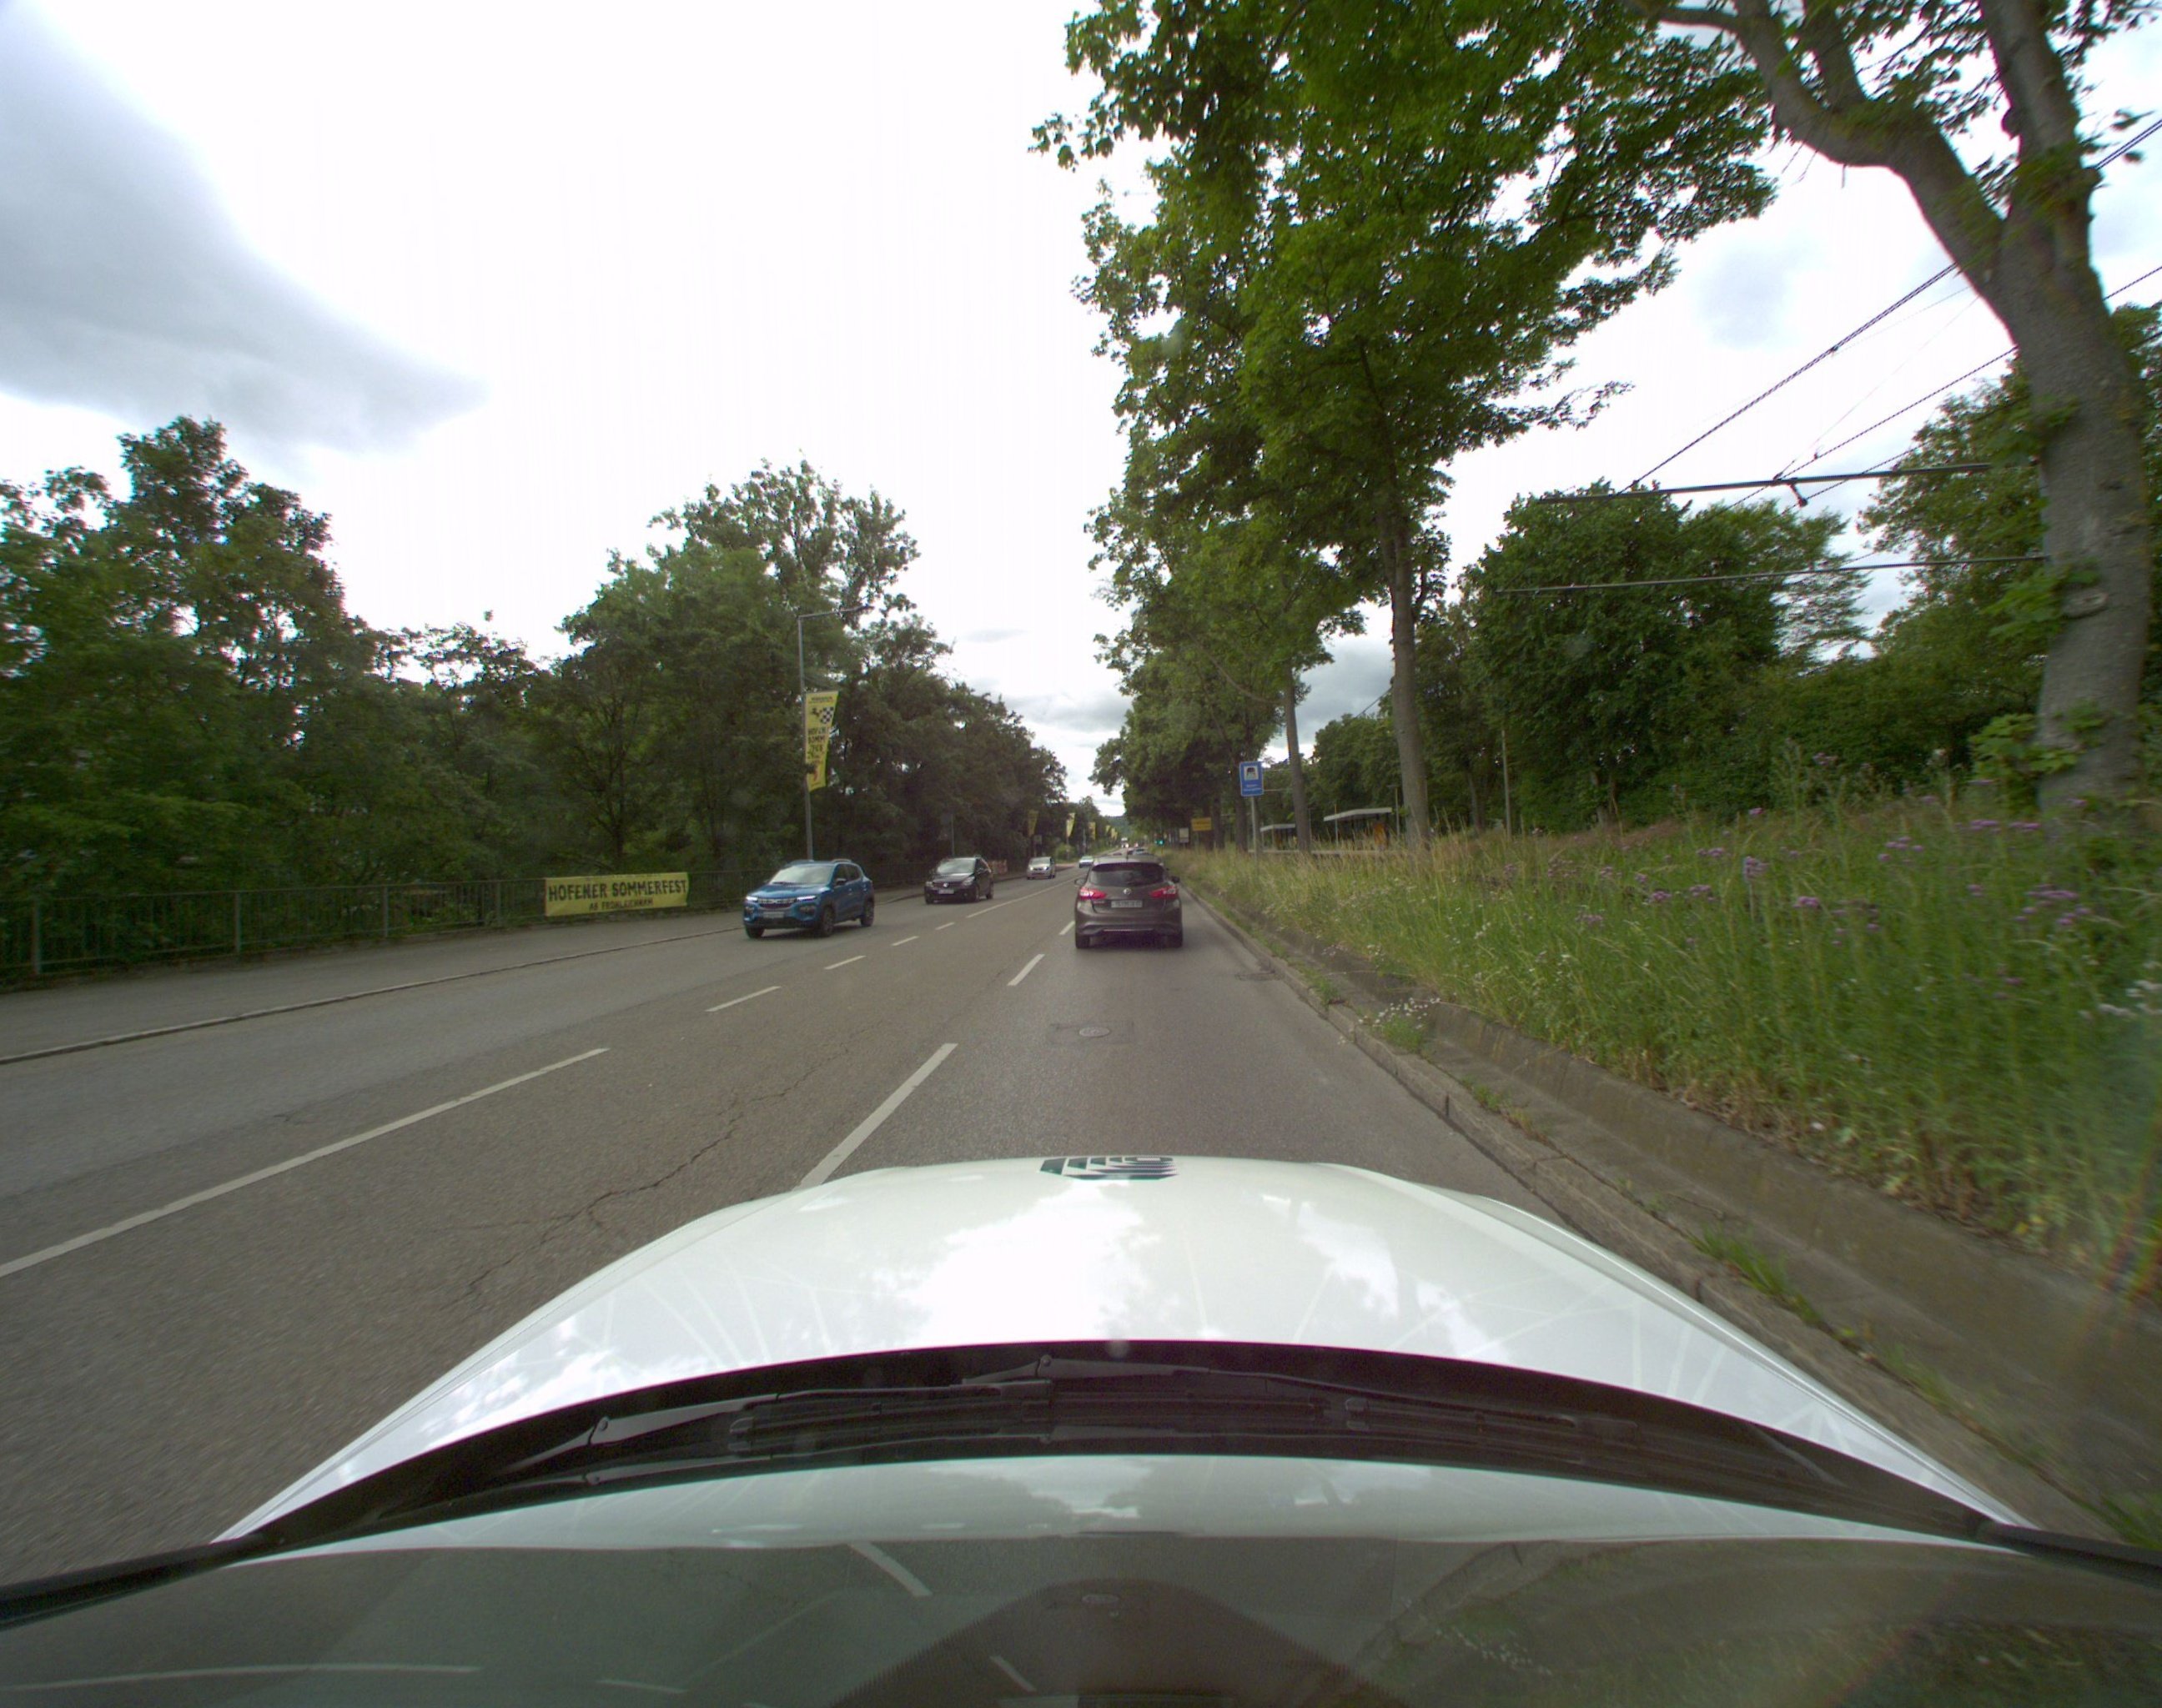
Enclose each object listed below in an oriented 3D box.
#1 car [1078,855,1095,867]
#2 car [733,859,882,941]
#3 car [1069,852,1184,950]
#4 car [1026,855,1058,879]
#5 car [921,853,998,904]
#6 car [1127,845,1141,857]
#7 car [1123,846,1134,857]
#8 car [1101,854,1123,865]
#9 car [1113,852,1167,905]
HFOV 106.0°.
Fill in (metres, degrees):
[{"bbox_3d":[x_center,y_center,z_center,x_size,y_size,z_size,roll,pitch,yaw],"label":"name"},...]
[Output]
[{"bbox_3d":[0.663,0.799,94.546,1.750,1.337,3.701,-2,0,5],"label":"car"},{"bbox_3d":[-5.524,0.865,16.954,1.573,1.485,3.701,-1,0,5],"label":"car"},{"bbox_3d":[0.857,0.741,14.537,1.775,1.507,3.701,-1,0,5],"label":"car"},{"bbox_3d":[-2.583,0.847,54.490,1.573,1.466,3.701,-2,0,5],"label":"car"},{"bbox_3d":[-4.130,0.796,28.263,1.712,1.607,4.019,-1,0,5],"label":"car"},{"bbox_3d":[7.759,-0.422,119.114,1.984,1.574,4.004,0,-1,4],"label":"car"},{"bbox_3d":[9.245,-0.407,157.654,1.986,2.014,4.001,0,-1,2],"label":"car"},{"bbox_3d":[4.108,0.685,107.369,1.762,1.337,3.675,-2,0,-16],"label":"car"},{"bbox_3d":[1.806,0.694,25.035,1.495,1.441,3.545,-2,0,4],"label":"car"}]
